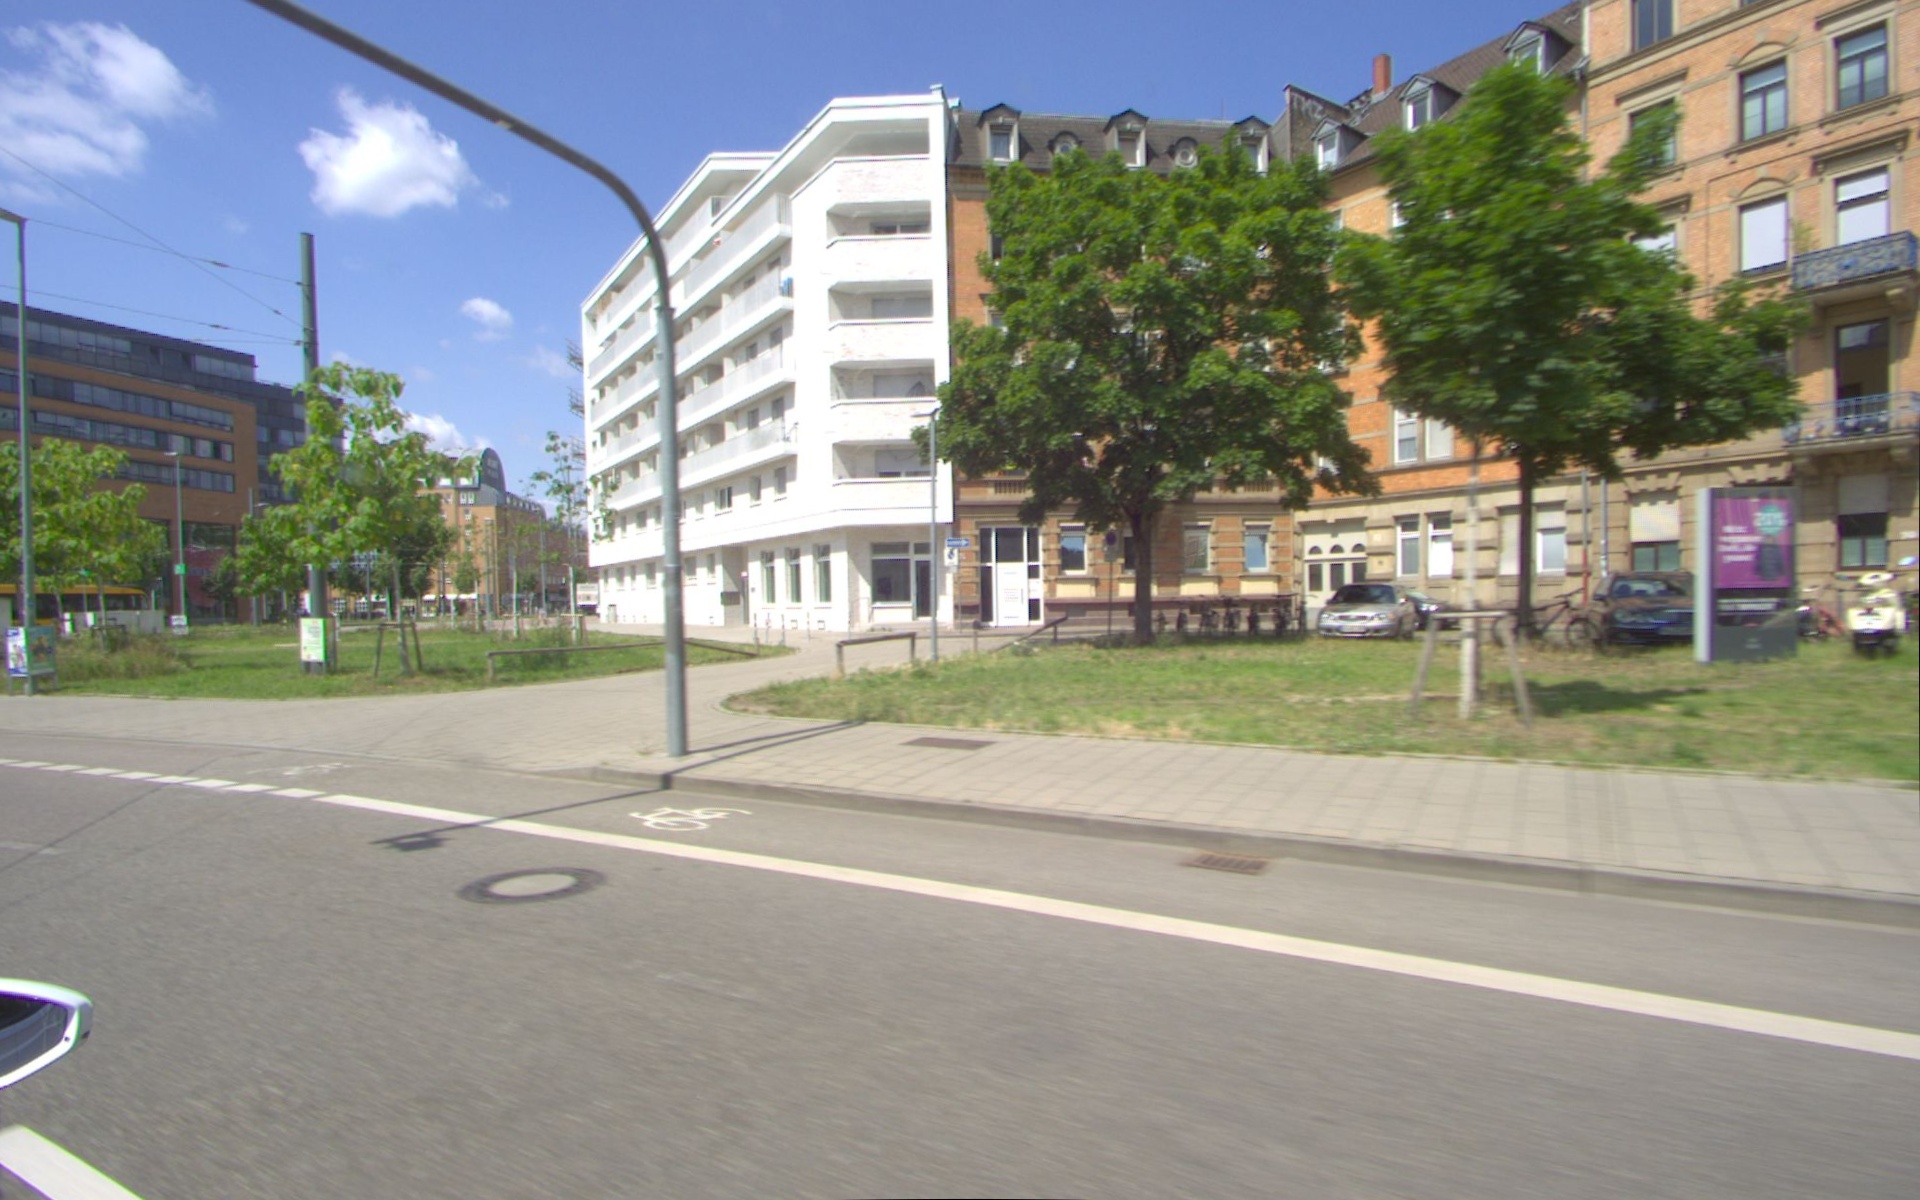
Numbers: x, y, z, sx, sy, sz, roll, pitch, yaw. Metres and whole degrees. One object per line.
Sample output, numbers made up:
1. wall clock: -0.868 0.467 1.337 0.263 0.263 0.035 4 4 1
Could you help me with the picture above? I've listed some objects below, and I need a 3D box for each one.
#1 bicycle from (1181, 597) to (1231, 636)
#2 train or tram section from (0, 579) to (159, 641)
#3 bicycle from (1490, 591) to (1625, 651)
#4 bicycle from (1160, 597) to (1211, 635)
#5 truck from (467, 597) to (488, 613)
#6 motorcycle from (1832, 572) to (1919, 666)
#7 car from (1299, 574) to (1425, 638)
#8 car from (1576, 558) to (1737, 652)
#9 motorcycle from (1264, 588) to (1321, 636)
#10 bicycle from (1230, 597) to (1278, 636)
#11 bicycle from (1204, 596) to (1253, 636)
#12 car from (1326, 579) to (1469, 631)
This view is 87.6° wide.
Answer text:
1. bicycle: 6.524 0.422 26.458 0.536 0.982 2.378 0 -1 33
2. train or tram section: -58.323 0.665 63.832 3.006 3.668 12.632 0 -1 9
3. bicycle: 9.592 0.338 16.148 0.537 0.913 1.808 0 -1 -36
4. bicycle: 6.049 0.429 26.765 0.536 0.982 2.378 0 -1 33
5. truck: -67.146 0.710 139.266 1.973 2.113 5.489 0 -1 -33
6. motorcycle: 12.279 0.233 13.311 1.765 1.182 0.635 -1 1 -35
7. car: 8.898 0.147 21.973 1.837 1.260 4.143 -1 -1 32
8. car: 12.120 0.069 17.693 1.777 1.446 4.242 -1 0 27
9. motorcycle: 8.344 0.294 25.043 0.801 1.140 2.378 0 -1 33
10. bicycle: 7.568 0.413 25.742 0.536 0.968 2.378 0 -1 33
11. bicycle: 7.019 0.415 26.118 0.536 0.982 2.378 0 -1 33
12. car: 13.516 0.190 31.111 1.642 1.511 3.830 0 -1 -33
